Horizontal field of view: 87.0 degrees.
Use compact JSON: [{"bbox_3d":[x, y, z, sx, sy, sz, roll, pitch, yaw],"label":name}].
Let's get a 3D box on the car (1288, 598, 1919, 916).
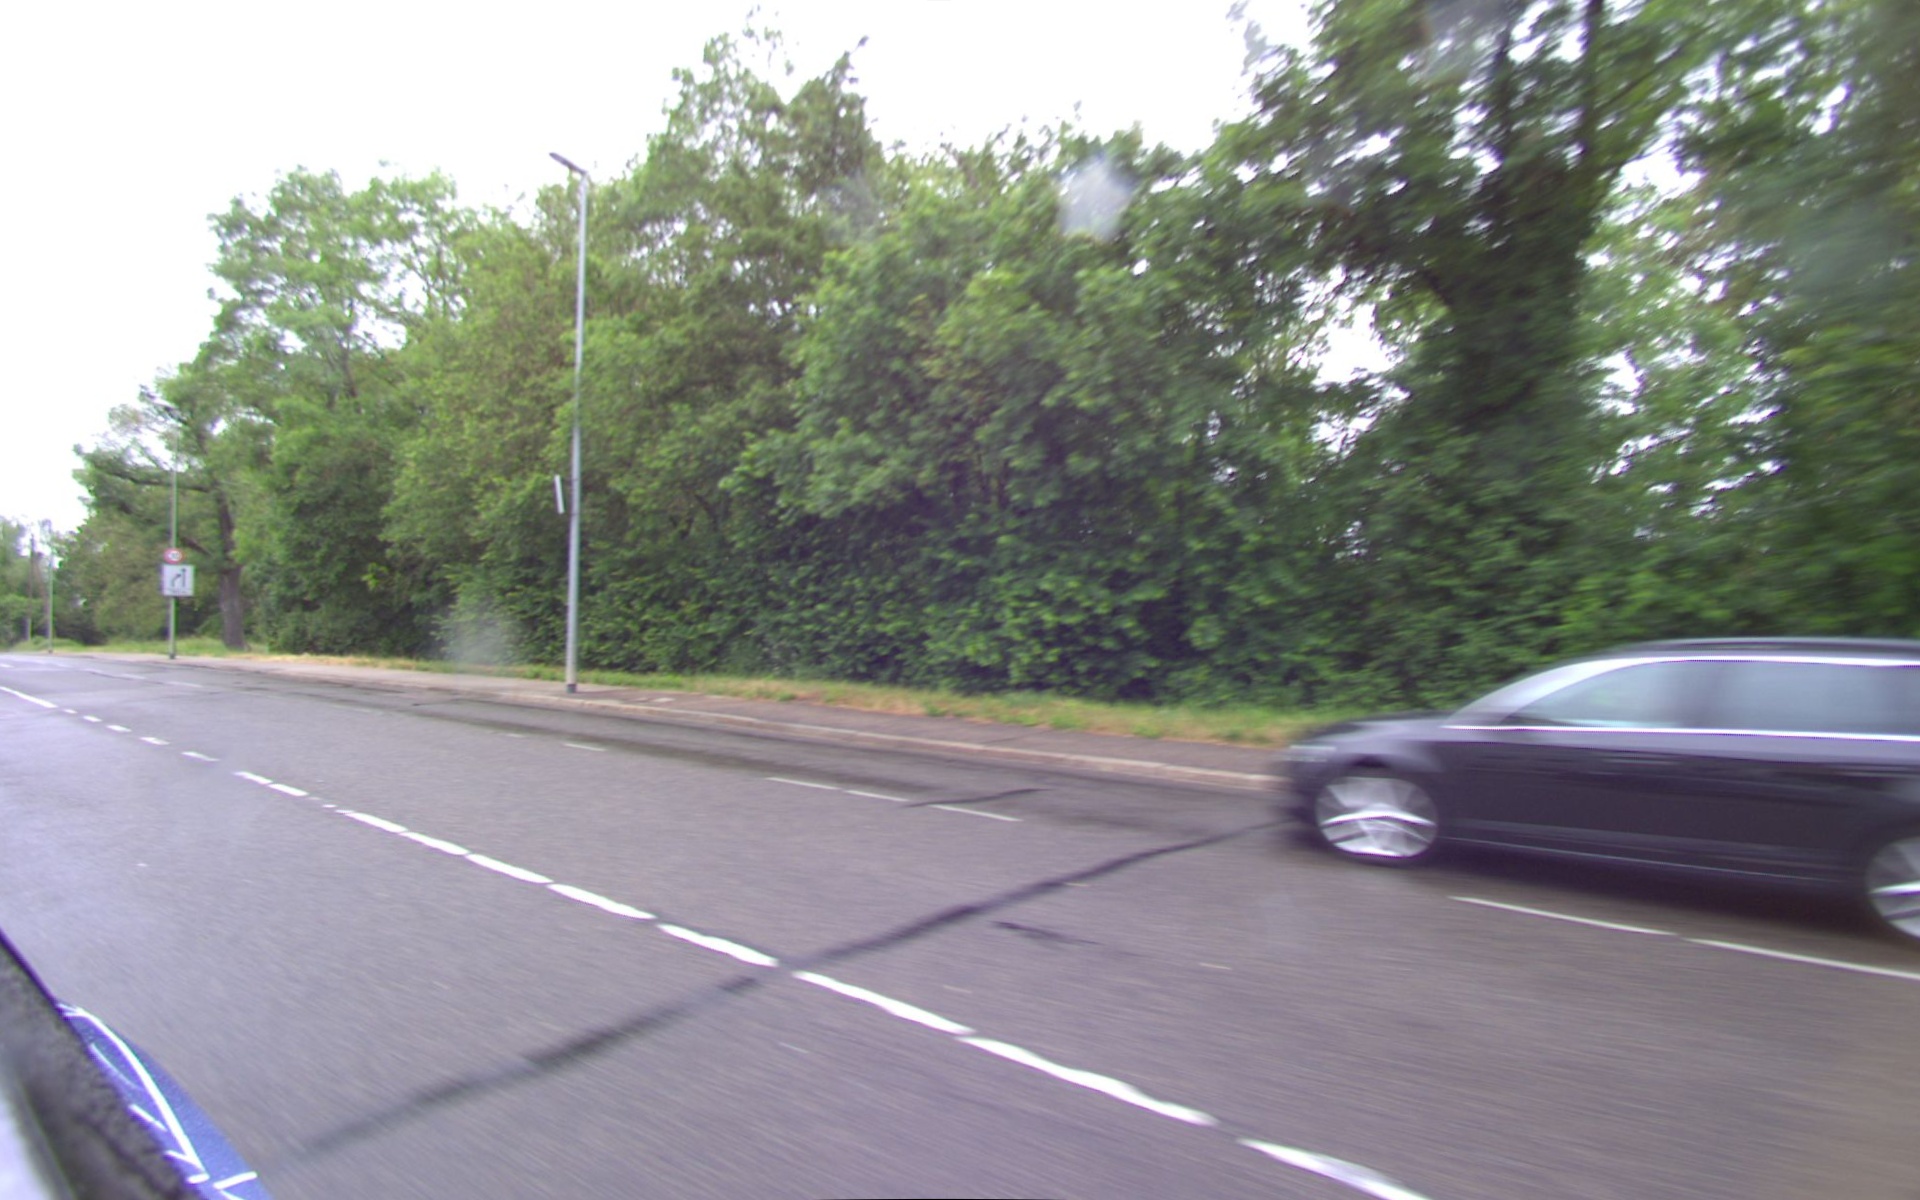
[{"bbox_3d":[4.336,0.752,5.767,4.385,1.443,1.726,-1,-3,40],"label":"car"}]
